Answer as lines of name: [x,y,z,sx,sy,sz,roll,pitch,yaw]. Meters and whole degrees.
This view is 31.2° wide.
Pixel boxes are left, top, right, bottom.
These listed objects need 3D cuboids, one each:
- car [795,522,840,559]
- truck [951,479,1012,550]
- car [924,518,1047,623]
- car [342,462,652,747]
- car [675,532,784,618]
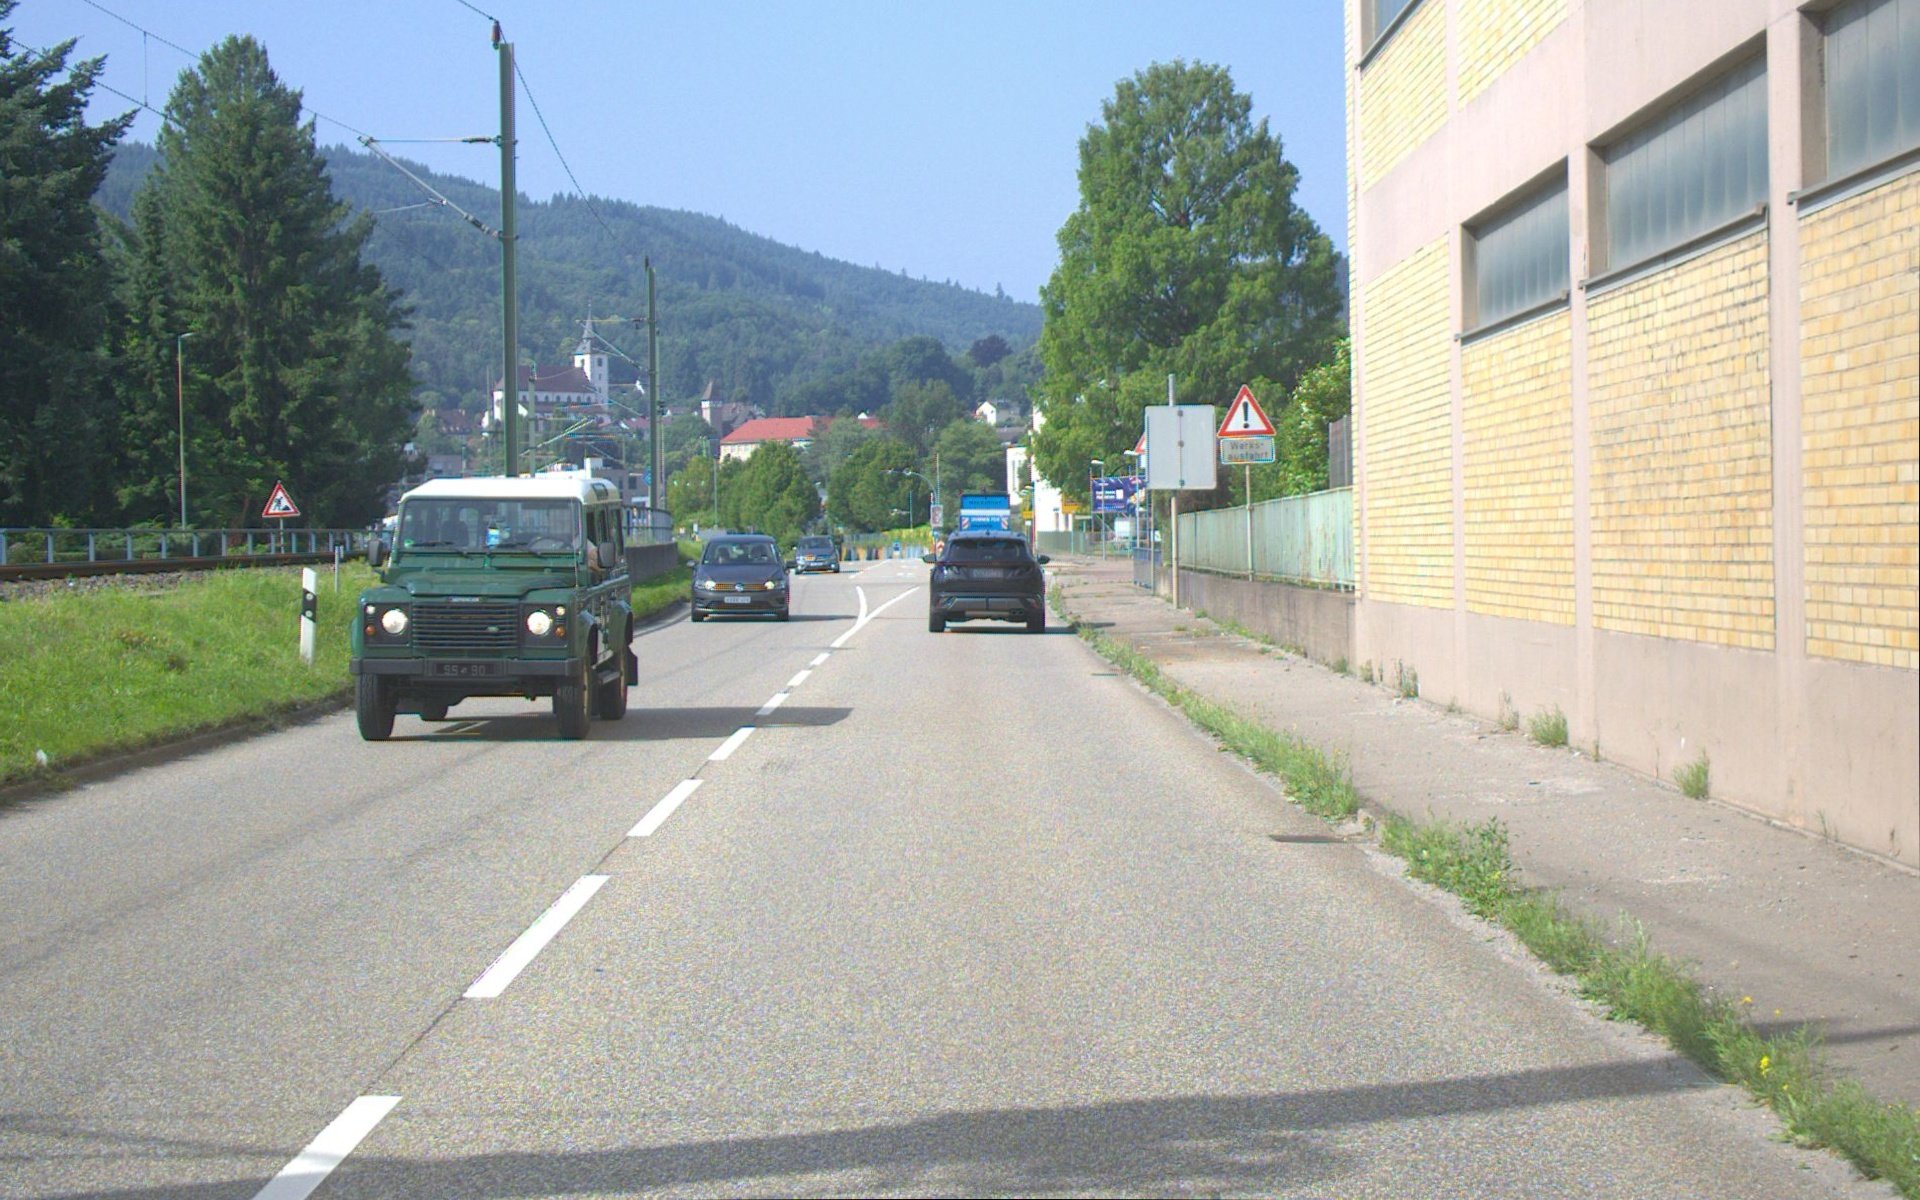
car: [-5.826,-2.438,140.919,1.741,1.502,4.200,0,1,-2]
truck: [0.885,-3.664,146.714,2.312,2.960,5.966,-1,2,-2]
car: [0.408,-0.508,56.220,1.919,1.634,4.000,-1,1,0]
car: [-3.611,-0.021,27.603,1.758,2.071,4.808,1,1,1]
car: [-4.189,-0.489,63.096,1.731,1.521,4.092,0,1,0]
